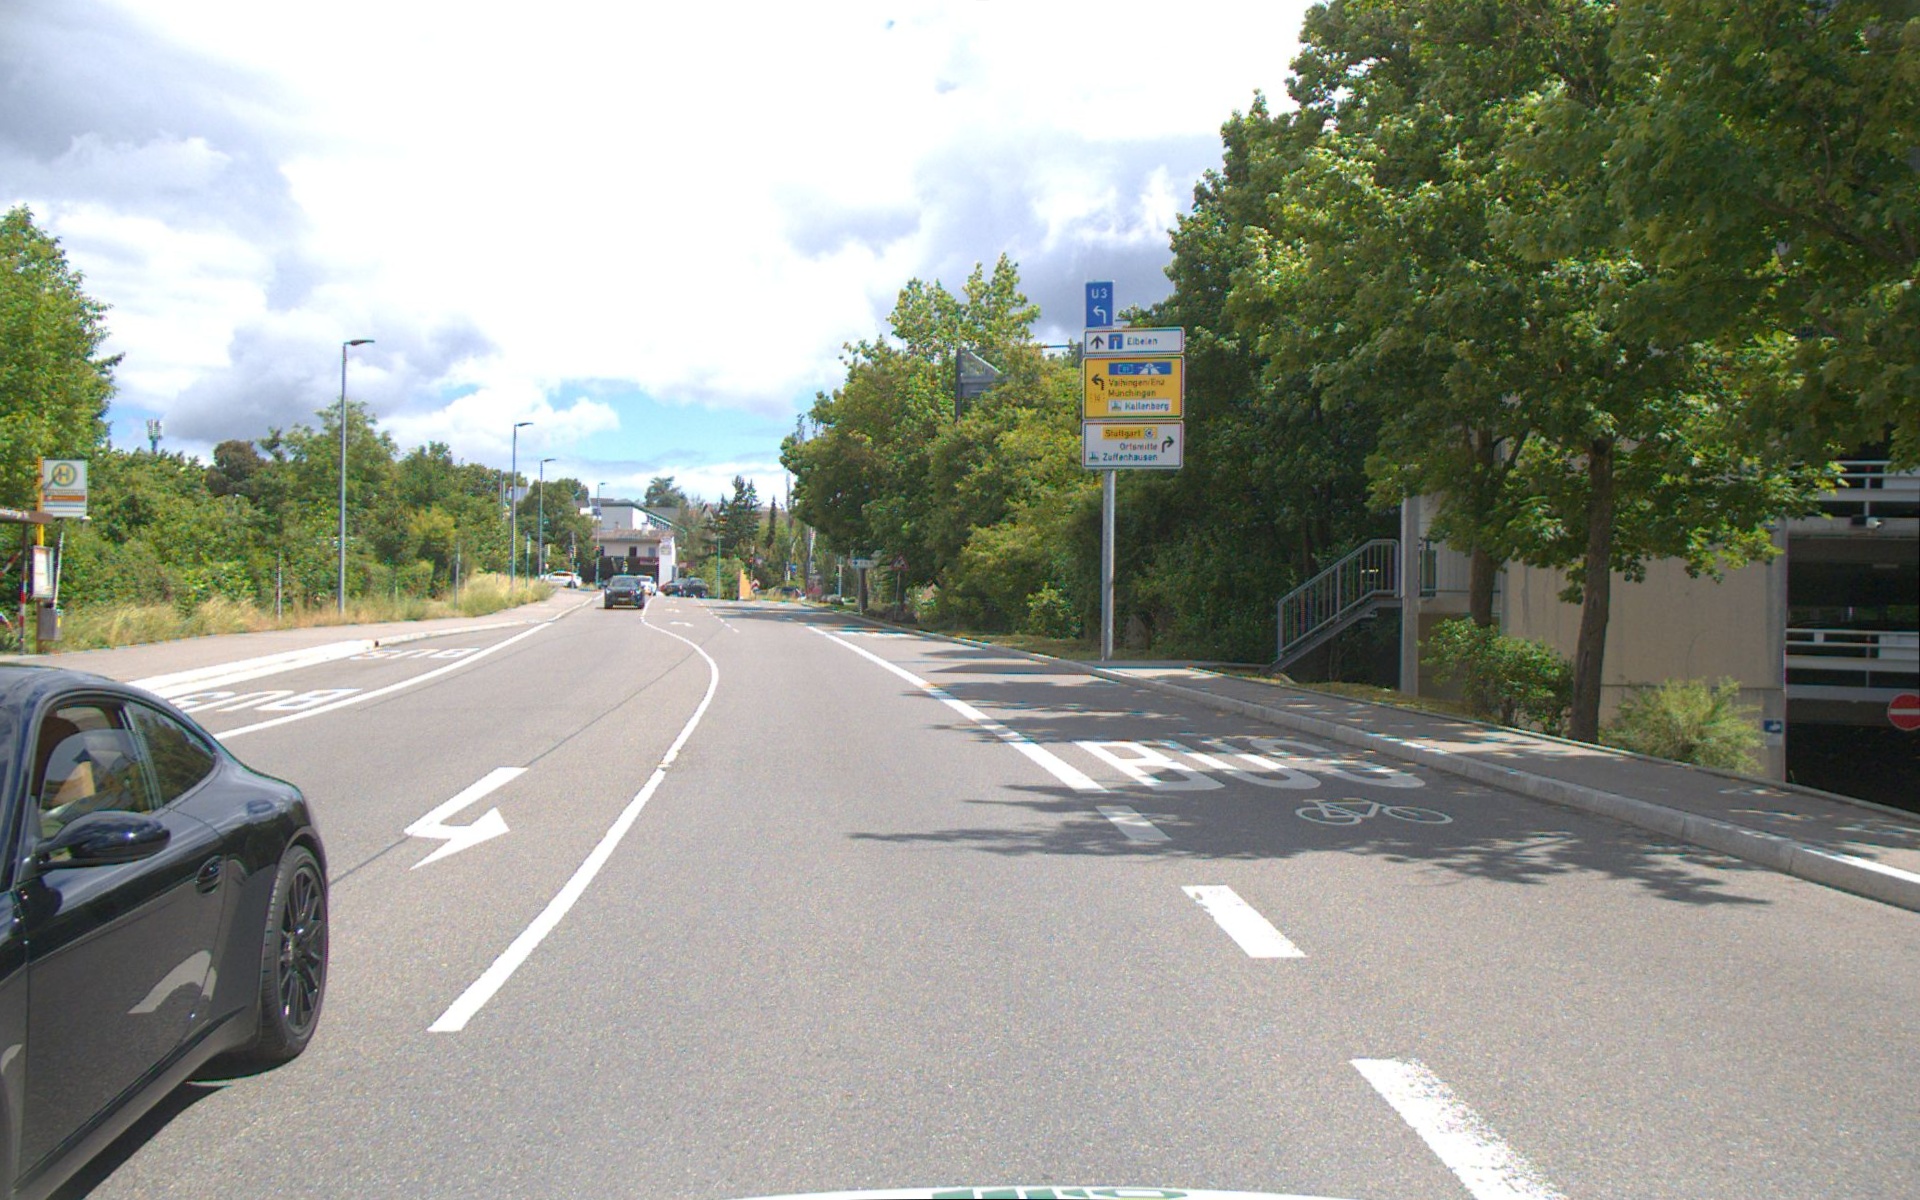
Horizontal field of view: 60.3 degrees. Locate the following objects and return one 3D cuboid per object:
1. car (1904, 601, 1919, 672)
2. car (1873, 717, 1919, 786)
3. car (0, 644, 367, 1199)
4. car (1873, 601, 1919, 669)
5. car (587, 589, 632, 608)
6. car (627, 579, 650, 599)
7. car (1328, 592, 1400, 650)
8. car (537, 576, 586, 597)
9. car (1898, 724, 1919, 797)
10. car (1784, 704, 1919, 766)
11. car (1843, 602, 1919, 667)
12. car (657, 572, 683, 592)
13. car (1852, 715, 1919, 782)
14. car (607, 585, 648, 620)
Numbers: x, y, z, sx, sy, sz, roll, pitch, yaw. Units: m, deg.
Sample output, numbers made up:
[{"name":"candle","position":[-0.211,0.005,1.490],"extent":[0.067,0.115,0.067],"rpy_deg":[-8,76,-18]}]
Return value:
[{"name":"car","position":[25.005,0.900,39.206],"extent":[4.223,1.659,2.001],"rpy_deg":[1,1,19]},{"name":"car","position":[25.076,3.790,40.701],"extent":[4.223,1.515,2.001],"rpy_deg":[1,1,19]},{"name":"car","position":[-2.726,0.833,3.808],"extent":[1.701,1.324,3.998],"rpy_deg":[0,0,-7]},{"name":"car","position":[25.654,0.906,41.748],"extent":[4.223,1.659,2.001],"rpy_deg":[1,1,19]},{"name":"car","position":[-32.707,-0.153,154.321],"extent":[3.908,1.742,1.893],"rpy_deg":[0,0,-4]},{"name":"car","position":[-24.429,-0.854,125.715],"extent":[1.734,1.467,3.889],"rpy_deg":[0,0,-11]},{"name":"car","position":[13.384,0.700,54.979],"extent":[1.837,1.831,3.708],"rpy_deg":[-1,0,7]},{"name":"car","position":[-36.190,-1.218,150.312],"extent":[3.906,1.937,2.000],"rpy_deg":[0,0,-2]},{"name":"car","position":[24.363,3.804,38.343],"extent":[4.223,1.515,2.001],"rpy_deg":[1,1,19]},{"name":"car","position":[26.441,3.919,48.052],"extent":[4.223,1.515,2.001],"rpy_deg":[1,1,19]},{"name":"car","position":[26.025,0.916,43.930],"extent":[4.223,1.659,2.001],"rpy_deg":[1,1,19]},{"name":"car","position":[-24.583,-1.540,140.382],"extent":[1.785,1.683,4.528],"rpy_deg":[0,1,-5]},{"name":"car","position":[25.659,3.886,42.815],"extent":[4.223,1.515,2.001],"rpy_deg":[1,1,19]},{"name":"car","position":[-16.288,0.111,80.864],"extent":[1.792,1.584,4.613],"rpy_deg":[-1,1,-14]}]
